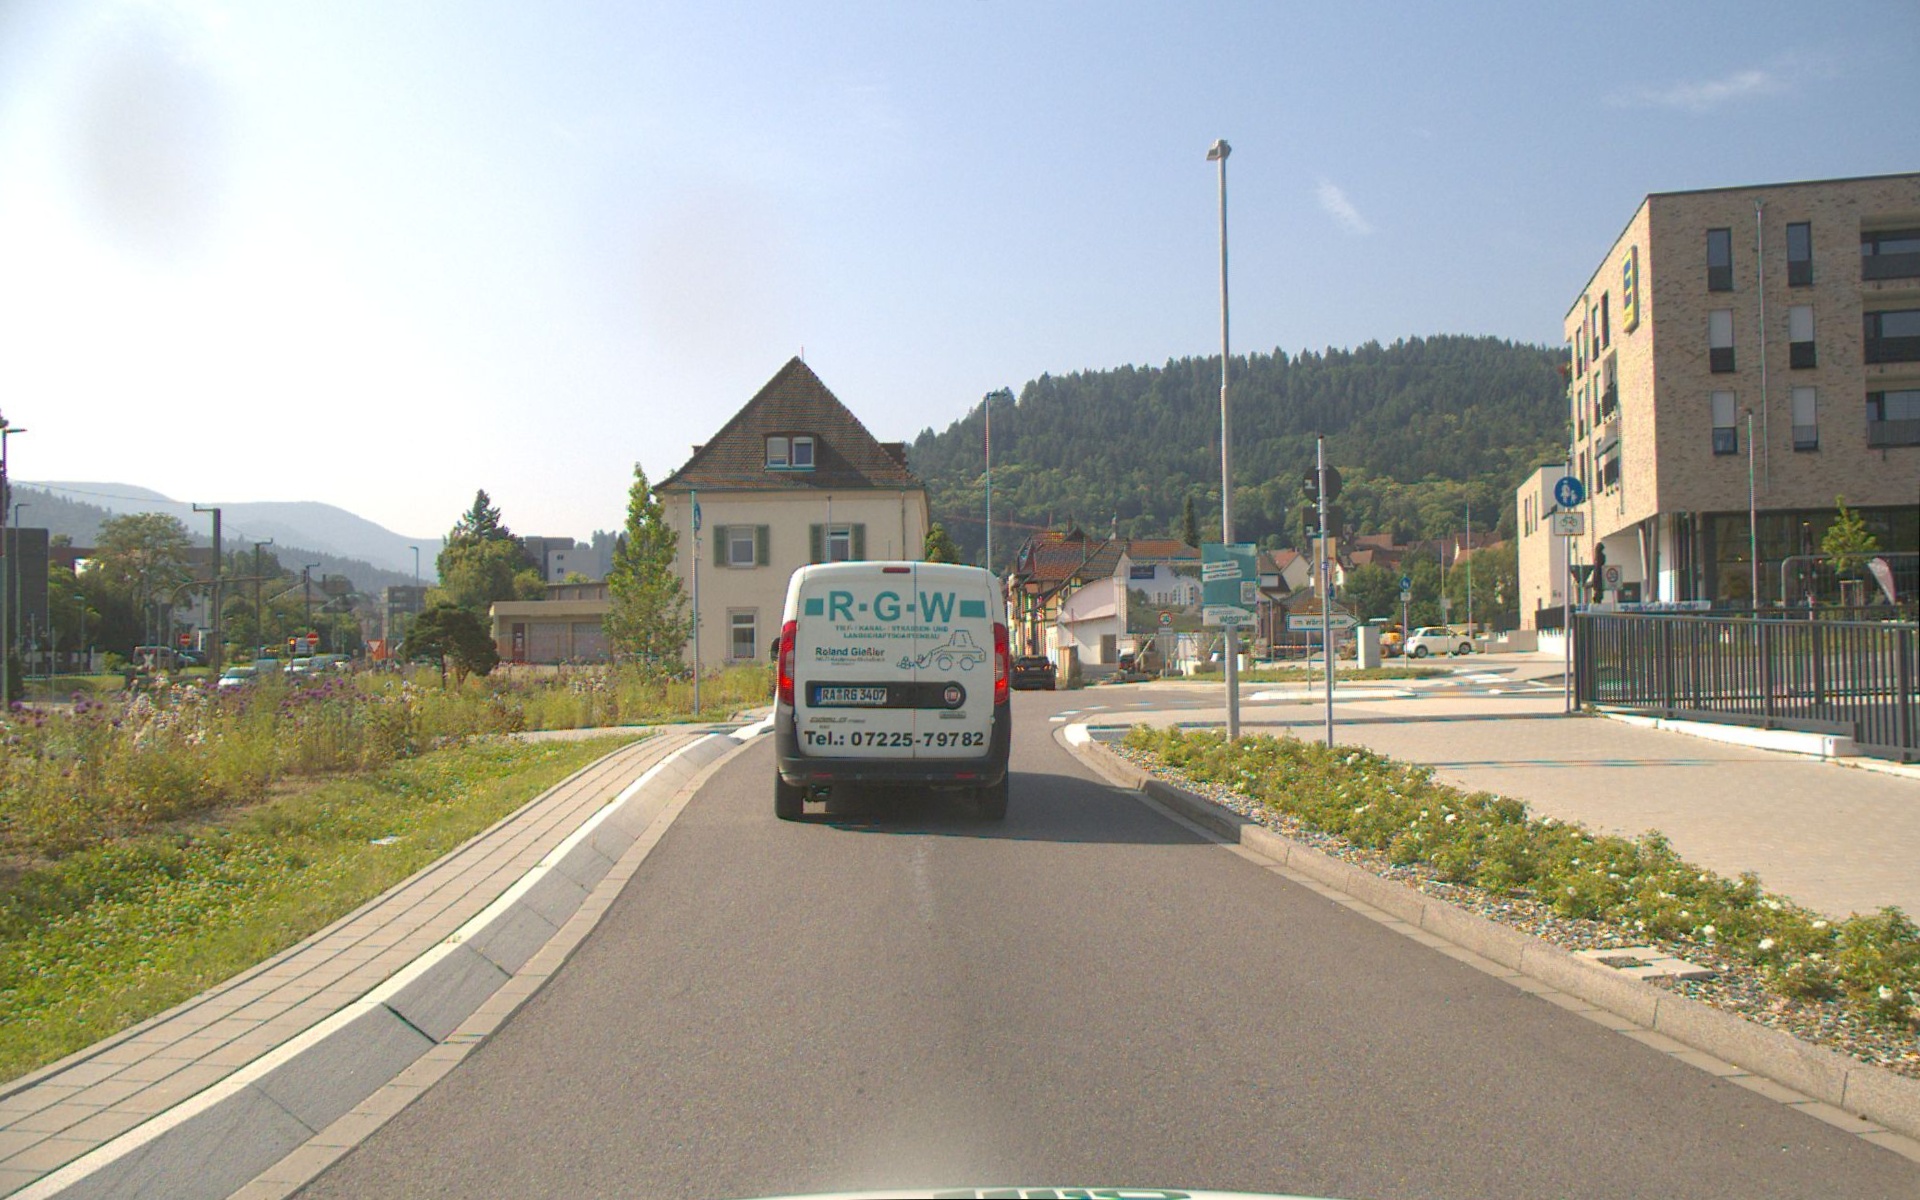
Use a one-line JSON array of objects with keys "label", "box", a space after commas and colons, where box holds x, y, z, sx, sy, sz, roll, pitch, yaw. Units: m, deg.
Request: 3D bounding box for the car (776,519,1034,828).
[{"label": "car", "box": [-0.602, 0.528, 13.690, 1.771, 2.114, 4.598, 1, -1, -6]}]

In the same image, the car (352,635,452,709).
[{"label": "car", "box": [-16.770, 2.130, 49.914, 1.773, 2.049, 3.997, -2, -1, -3]}]

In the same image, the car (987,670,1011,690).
[{"label": "car", "box": [2.192, 4.498, 93.002, 1.279, 1.021, 3.090, -2, -2, 1]}]

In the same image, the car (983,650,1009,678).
[{"label": "car", "box": [2.784, 4.928, 127.521, 1.952, 2.049, 4.000, -2, -2, 1]}]

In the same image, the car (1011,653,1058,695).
[{"label": "car", "box": [3.294, 3.244, 72.675, 1.841, 1.713, 4.002, -2, -2, 5]}]

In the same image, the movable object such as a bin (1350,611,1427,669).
[{"label": "movable object such as a bin", "box": [14.860, 1.391, 57.414, 2.391, 1.876, 1.429, -2, -2, 8]}]

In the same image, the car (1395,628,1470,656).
[{"label": "car", "box": [24.097, 2.128, 84.360, 3.403, 1.326, 1.468, -1, -1, 1]}]
